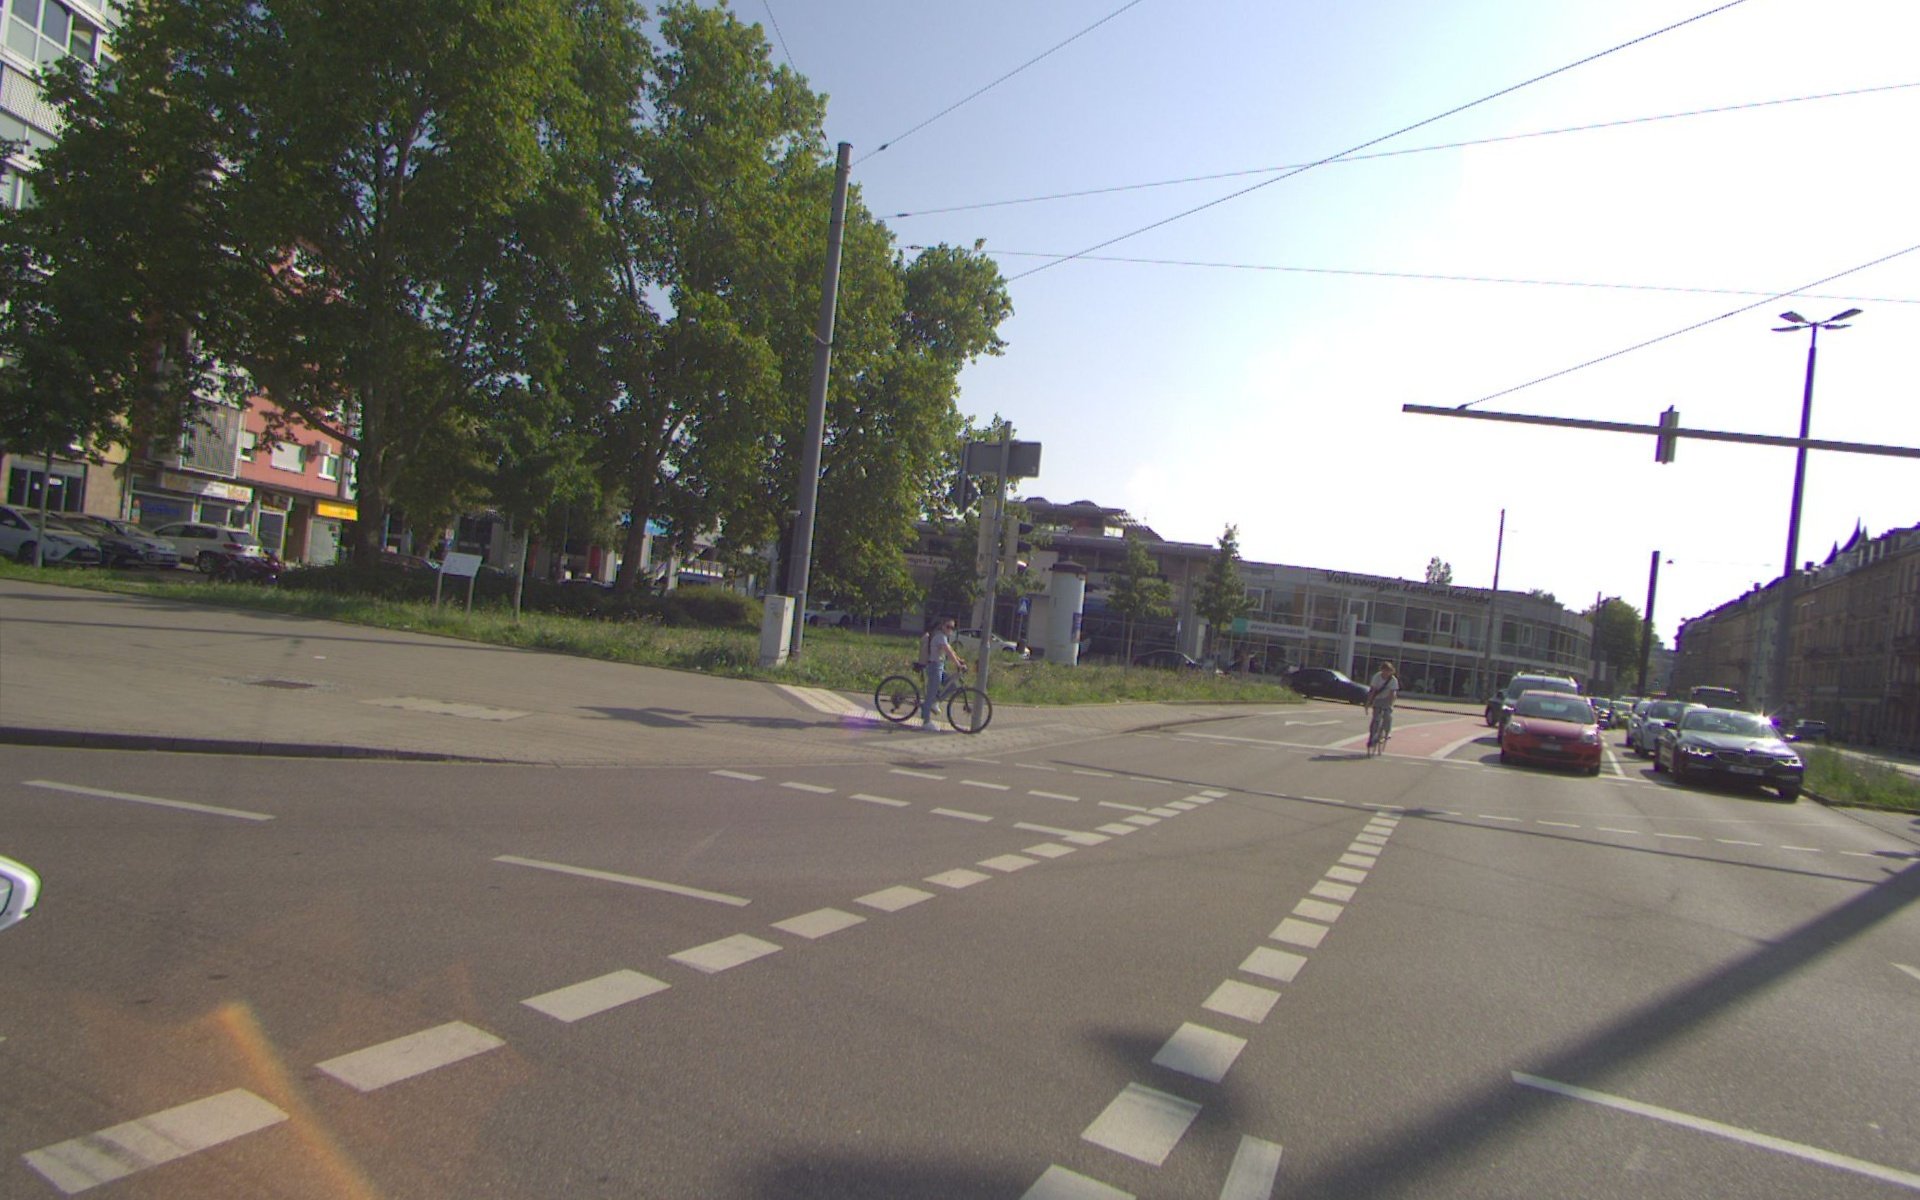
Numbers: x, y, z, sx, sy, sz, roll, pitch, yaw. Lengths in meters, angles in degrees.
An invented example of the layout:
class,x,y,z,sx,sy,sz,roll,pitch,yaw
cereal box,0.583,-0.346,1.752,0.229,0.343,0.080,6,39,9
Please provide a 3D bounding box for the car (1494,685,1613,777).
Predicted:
class,x,y,z,sx,sy,sz,roll,pitch,yaw
car,11.937,2.562,20.356,1.773,1.432,3.994,6,-1,30

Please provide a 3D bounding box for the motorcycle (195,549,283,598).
class,x,y,z,sx,sy,sz,roll,pitch,yaw
motorcycle,-18.678,-0.683,26.073,1.919,1.014,0.706,6,0,15

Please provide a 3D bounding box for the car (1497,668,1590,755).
class,x,y,z,sx,sy,sz,roll,pitch,yaw
car,15.316,2.874,26.506,1.773,1.849,4.767,6,-1,30

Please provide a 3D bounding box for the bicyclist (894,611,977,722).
class,x,y,z,sx,sy,sz,roll,pitch,yaw
bicyclist,-0.346,0.948,14.360,0.805,1.444,0.731,7,0,21

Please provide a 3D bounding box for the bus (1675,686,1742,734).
class,x,y,z,sx,sy,sz,roll,pitch,yaw
bus,57.491,8.406,77.508,2.850,3.019,11.476,6,-1,32

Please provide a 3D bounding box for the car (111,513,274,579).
class,x,y,z,sx,sy,sz,roll,pitch,yaw
car,-26.481,-1.824,34.806,3.926,1.664,2.000,7,-1,0

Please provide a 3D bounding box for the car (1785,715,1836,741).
class,x,y,z,sx,sy,sz,roll,pitch,yaw
car,58.197,8.750,68.917,1.710,1.365,3.777,6,-1,27

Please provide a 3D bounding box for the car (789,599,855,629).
class,x,y,z,sx,sy,sz,roll,pitch,yaw
car,-9.340,0.951,68.226,1.973,1.479,4.042,6,-2,42

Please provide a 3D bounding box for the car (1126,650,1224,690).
class,x,y,z,sx,sy,sz,roll,pitch,yaw
car,10.646,3.431,49.719,4.319,1.386,1.999,6,-1,24

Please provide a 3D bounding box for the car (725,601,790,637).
class,x,y,z,sx,sy,sz,roll,pitch,yaw
car,-14.274,1.360,71.032,3.928,2.037,1.946,6,-1,25

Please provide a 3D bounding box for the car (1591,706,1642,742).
class,x,y,z,sx,sy,sz,roll,pitch,yaw
car,33.018,6.191,50.668,1.773,1.432,3.994,6,-1,30

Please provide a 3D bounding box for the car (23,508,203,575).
class,x,y,z,sx,sy,sz,roll,pitch,yaw
car,-27.083,-1.832,32.281,3.926,1.525,2.000,7,-1,0

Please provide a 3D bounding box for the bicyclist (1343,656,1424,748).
class,x,y,z,sx,sy,sz,roll,pitch,yaw
bicyclist,7.658,1.817,18.242,1.067,1.493,0.972,6,0,14

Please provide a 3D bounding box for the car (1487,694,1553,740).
class,x,y,z,sx,sy,sz,roll,pitch,yaw
car,19.999,4.139,36.027,1.772,1.298,3.628,6,-1,27

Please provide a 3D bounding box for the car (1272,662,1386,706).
class,x,y,z,sx,sy,sz,roll,pitch,yaw
car,16.680,3.788,45.631,4.337,1.386,1.991,6,-1,42

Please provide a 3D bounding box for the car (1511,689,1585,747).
class,x,y,z,sx,sy,sz,roll,pitch,yaw
car,18.359,3.644,31.506,1.773,1.458,3.626,6,-1,30

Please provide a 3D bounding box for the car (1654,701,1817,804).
class,x,y,z,sx,sy,sz,roll,pitch,yaw
car,14.837,2.837,19.491,1.773,1.469,4.344,6,-1,30

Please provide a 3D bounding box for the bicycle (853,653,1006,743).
class,x,y,z,sx,sy,sz,roll,pitch,yaw
bicycle,-0.450,1.373,14.359,2.037,0.905,0.567,9,2,22

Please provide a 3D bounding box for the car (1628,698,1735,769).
class,x,y,z,sx,sy,sz,roll,pitch,yaw
car,18.956,3.461,26.581,1.773,1.452,3.552,6,-1,30

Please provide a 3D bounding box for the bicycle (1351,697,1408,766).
class,x,y,z,sx,sy,sz,roll,pitch,yaw
bicycle,7.530,2.331,18.137,0.519,1.001,2.199,6,-1,14

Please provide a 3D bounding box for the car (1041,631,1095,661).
class,x,y,z,sx,sy,sz,roll,pitch,yaw
car,6.705,2.896,62.175,1.964,1.479,4.324,7,-2,24

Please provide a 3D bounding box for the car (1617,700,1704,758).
class,x,y,z,sx,sy,sz,roll,pitch,yaw
car,22.145,4.024,31.936,1.773,1.432,3.994,6,-1,30

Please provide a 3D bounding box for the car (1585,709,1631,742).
class,x,y,z,sx,sy,sz,roll,pitch,yaw
car,35.762,6.891,55.591,1.773,1.432,3.994,6,-1,30

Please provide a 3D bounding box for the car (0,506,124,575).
class,x,y,z,sx,sy,sz,roll,pitch,yaw
car,-25.610,-1.724,27.347,3.926,1.525,2.000,7,-1,0

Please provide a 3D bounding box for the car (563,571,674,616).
class,x,y,z,sx,sy,sz,roll,pitch,yaw
car,-14.409,-0.266,42.662,3.927,1.392,2.000,7,-1,-2

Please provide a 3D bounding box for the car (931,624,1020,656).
class,x,y,z,sx,sy,sz,roll,pitch,yaw
car,0.843,2.126,53.406,4.314,1.179,2.001,7,-1,15

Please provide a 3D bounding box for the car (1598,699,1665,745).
class,x,y,z,sx,sy,sz,roll,pitch,yaw
car,26.514,4.783,39.842,1.773,1.432,3.994,6,-1,30
